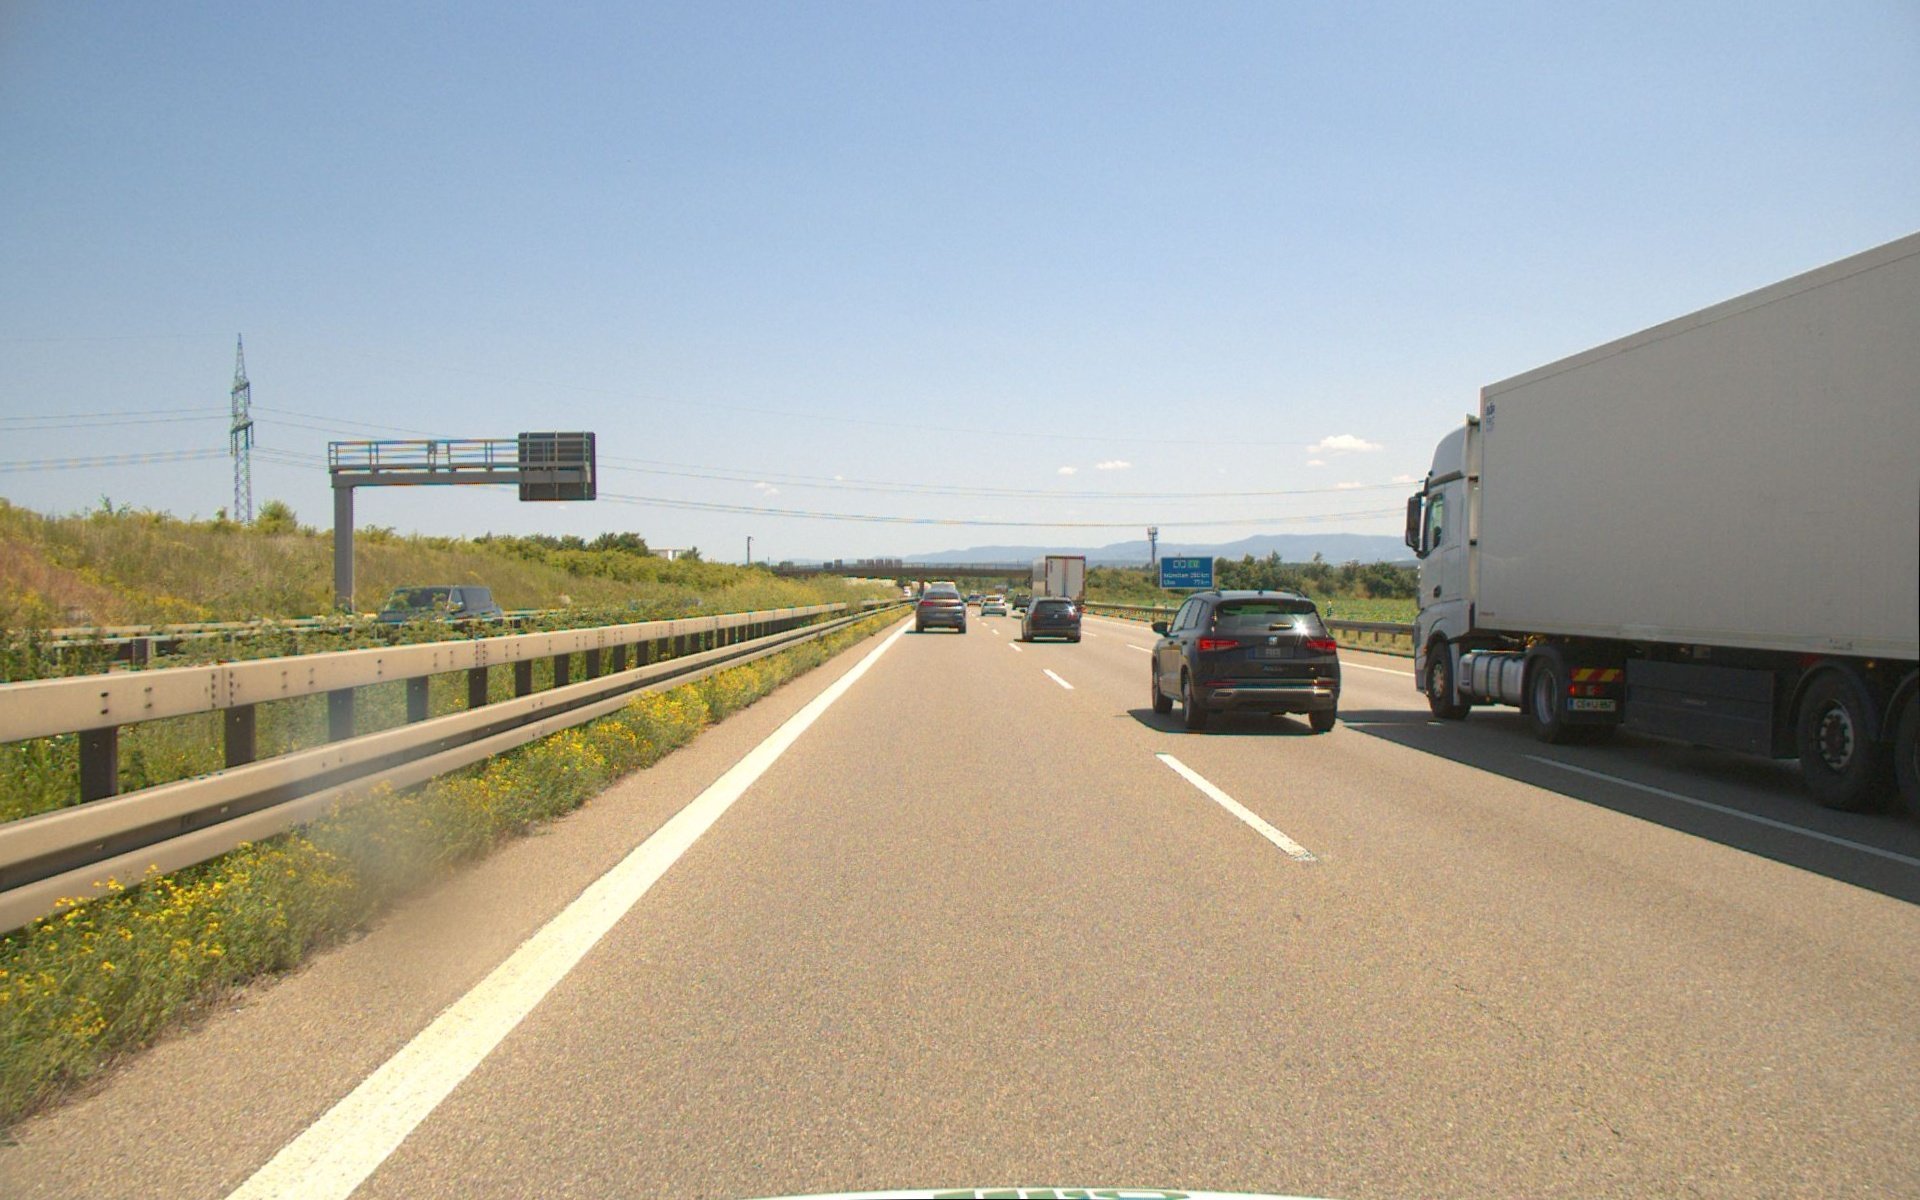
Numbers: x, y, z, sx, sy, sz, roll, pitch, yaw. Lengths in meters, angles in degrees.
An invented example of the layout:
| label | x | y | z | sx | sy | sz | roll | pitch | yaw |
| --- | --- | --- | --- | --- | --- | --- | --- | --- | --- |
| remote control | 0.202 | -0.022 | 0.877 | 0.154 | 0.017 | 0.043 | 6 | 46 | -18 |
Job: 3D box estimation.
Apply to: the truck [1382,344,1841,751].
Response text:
| label | x | y | z | sx | sy | sz | roll | pitch | yaw |
| --- | --- | --- | --- | --- | --- | --- | --- | --- | --- |
| truck | 7.650 | -0.535 | 20.615 | 2.805 | 4.163 | 6.877 | 1 | 0 | -2 |

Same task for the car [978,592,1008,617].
| label | x | y | z | sx | sy | sz | roll | pitch | yaw |
| --- | --- | --- | --- | --- | --- | --- | --- | --- | --- |
| car | 2.343 | 0.315 | 117.651 | 1.953 | 1.712 | 3.999 | 1 | 0 | 0 |

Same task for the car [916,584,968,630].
| label | x | y | z | sx | sy | sz | roll | pitch | yaw |
| --- | --- | --- | --- | --- | --- | --- | --- | --- | --- |
| car | -0.723 | 0.257 | 64.160 | 1.814 | 1.693 | 3.732 | 1 | 0 | -3 |

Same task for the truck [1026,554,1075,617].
| label | x | y | z | sx | sy | sz | roll | pitch | yaw |
| --- | --- | --- | --- | --- | --- | --- | --- | --- | --- |
| truck | 6.400 | -0.992 | 117.565 | 2.918 | 4.301 | 7.686 | 1 | 0 | 0 |

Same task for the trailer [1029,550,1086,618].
| label | x | y | z | sx | sy | sz | roll | pitch | yaw |
| --- | --- | --- | --- | --- | --- | --- | --- | --- | --- |
| trailer | 6.416 | -0.989 | 110.948 | 2.883 | 4.271 | 13.594 | 1 | 0 | 0 |

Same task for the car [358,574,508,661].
| label | x | y | z | sx | sy | sz | roll | pitch | yaw |
| --- | --- | --- | --- | --- | --- | --- | --- | --- | --- |
| car | -13.356 | 0.433 | 42.340 | 1.953 | 1.974 | 5.854 | -3 | 0 | -1 |

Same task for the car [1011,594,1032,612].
| label | x | y | z | sx | sy | sz | roll | pitch | yaw |
| --- | --- | --- | --- | --- | --- | --- | --- | --- | --- |
| car | 6.308 | 0.309 | 170.052 | 1.953 | 1.712 | 3.999 | 1 | 0 | 0 |

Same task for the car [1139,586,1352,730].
| label | x | y | z | sx | sy | sz | roll | pitch | yaw |
| --- | --- | --- | --- | --- | --- | --- | --- | --- | --- |
| car | 3.438 | 0.665 | 20.602 | 1.761 | 1.589 | 3.821 | 1 | 0 | -3 |

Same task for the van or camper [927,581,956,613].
| label | x | y | z | sx | sy | sz | roll | pitch | yaw |
| --- | --- | --- | --- | --- | --- | --- | --- | --- | --- |
| van or camper | -1.380 | -0.212 | 122.909 | 2.067 | 2.250 | 5.265 | 1 | 0 | 0 |

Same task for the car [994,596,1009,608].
| label | x | y | z | sx | sy | sz | roll | pitch | yaw |
| --- | --- | --- | --- | --- | --- | --- | --- | --- | --- |
| car | 5.851 | 0.306 | 235.351 | 1.953 | 1.712 | 3.999 | 1 | 0 | 0 |

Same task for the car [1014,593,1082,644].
| label | x | y | z | sx | sy | sz | roll | pitch | yaw |
| --- | --- | --- | --- | --- | --- | --- | --- | --- | --- |
| car | 2.897 | 0.591 | 55.195 | 1.894 | 1.602 | 4.933 | 1 | 0 | -1 |

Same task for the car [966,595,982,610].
| label | x | y | z | sx | sy | sz | roll | pitch | yaw |
| --- | --- | --- | --- | --- | --- | --- | --- | --- | --- |
| car | 1.702 | 0.323 | 204.374 | 1.953 | 1.712 | 3.999 | 1 | 0 | 0 |

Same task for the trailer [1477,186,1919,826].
| label | x | y | z | sx | sy | sz | roll | pitch | yaw |
| --- | --- | --- | --- | --- | --- | --- | --- | --- | --- |
| trailer | 7.796 | -0.604 | 13.351 | 2.809 | 4.294 | 13.291 | 1 | 0 | -1 |
